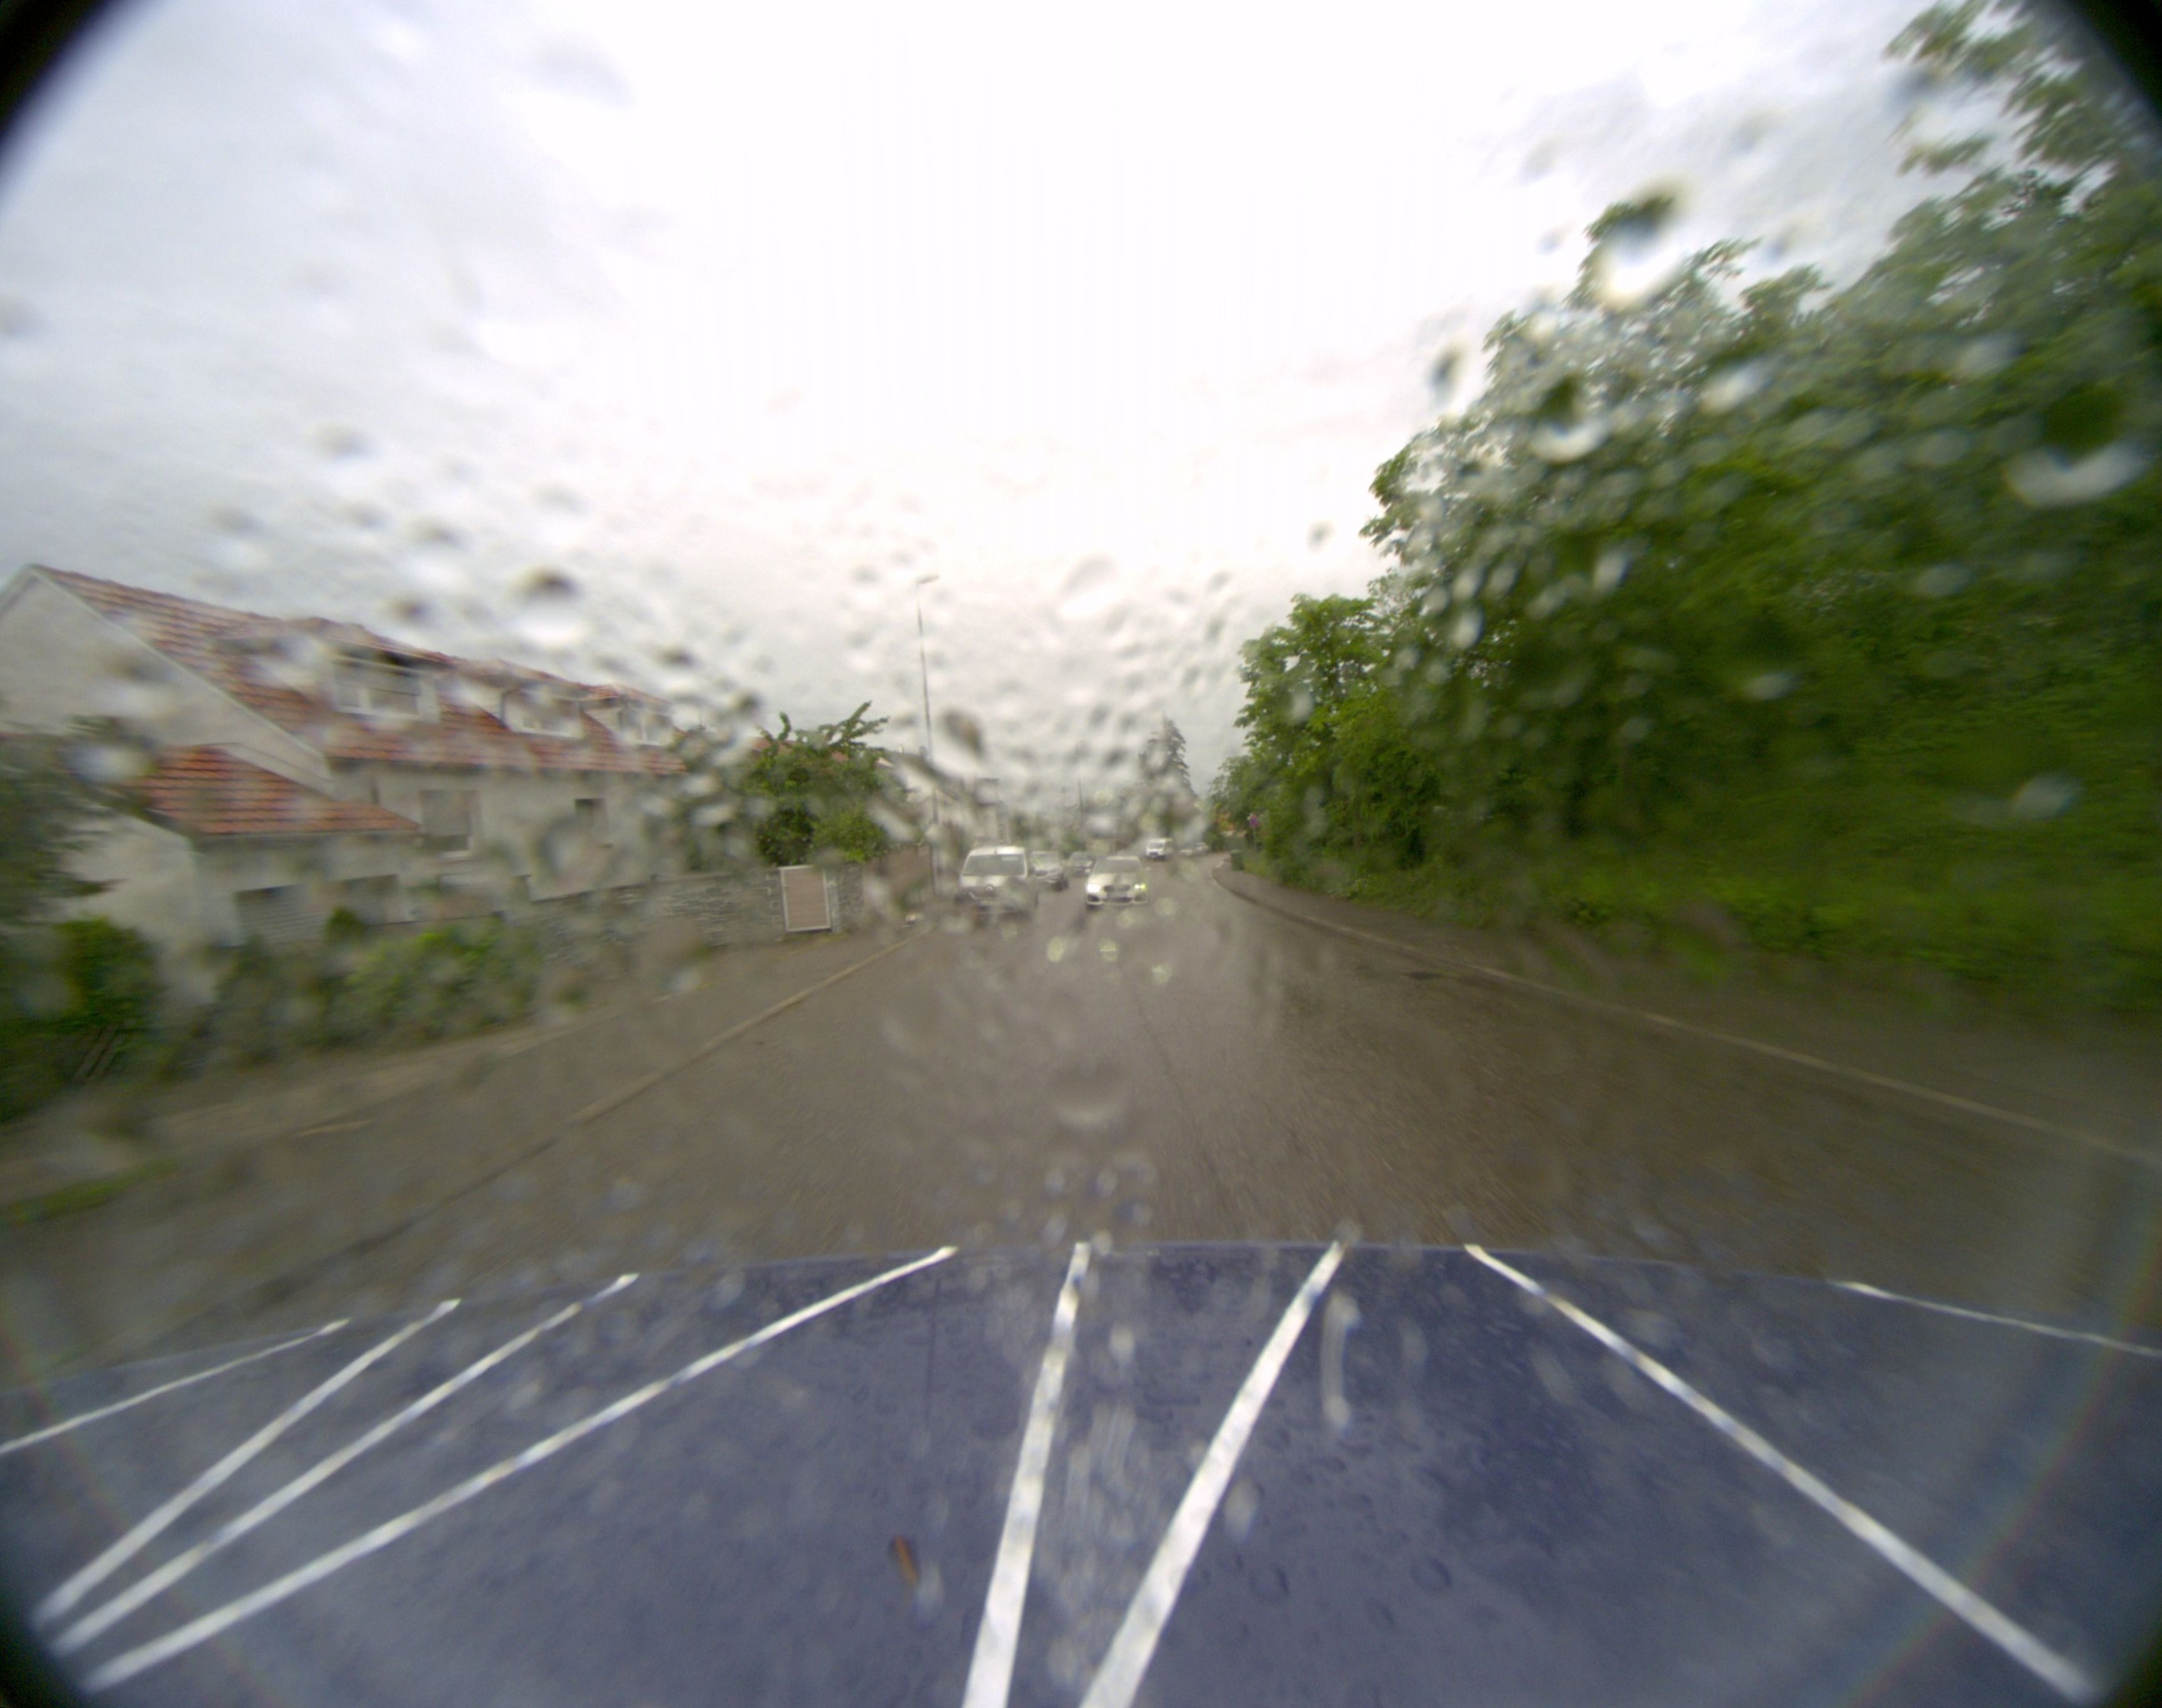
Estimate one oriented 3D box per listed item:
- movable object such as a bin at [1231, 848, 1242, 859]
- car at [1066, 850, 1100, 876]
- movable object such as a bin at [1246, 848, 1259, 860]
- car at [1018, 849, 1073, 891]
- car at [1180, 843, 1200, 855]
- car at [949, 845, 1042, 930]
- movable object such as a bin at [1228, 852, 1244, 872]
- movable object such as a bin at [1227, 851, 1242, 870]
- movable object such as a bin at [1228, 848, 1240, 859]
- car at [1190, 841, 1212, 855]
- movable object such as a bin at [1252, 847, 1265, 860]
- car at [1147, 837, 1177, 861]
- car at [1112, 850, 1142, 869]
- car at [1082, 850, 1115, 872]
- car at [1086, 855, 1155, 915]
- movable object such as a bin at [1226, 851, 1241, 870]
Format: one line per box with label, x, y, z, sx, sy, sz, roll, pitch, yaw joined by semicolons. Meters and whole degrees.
movable object such as a bin;14.295;-0.048;69.827;0.780;1.022;0.719;-5;2;-11
car;0.168;0.528;47.238;1.662;1.459;3.765;0;1;7
movable object such as a bin;15.347;-0.005;67.908;0.781;1.022;0.718;-6;2;-34
car;-1.448;0.637;32.512;1.808;1.617;4.288;0;1;5
car;14.485;-0.646;100.827;1.751;1.415;4.005;-1;1;21
car;-2.004;0.726;19.167;1.783;1.793;4.706;-2;1;0
movable object such as a bin;8.716;0.441;42.655;0.770;1.062;0.691;-2;1;4
movable object such as a bin;8.911;0.371;44.100;0.770;1.090;0.738;-2;1;4
movable object such as a bin;14.200;-0.061;70.563;0.780;1.022;0.719;-5;2;-11
car;16.842;-0.828;106.225;1.866;1.808;4.868;-1;1;23
movable object such as a bin;15.751;-0.036;67.296;0.781;1.022;0.718;-6;2;-34
car;9.155;-0.603;85.480;2.075;2.535;6.188;-1;1;17
car;4.140;0.463;67.663;1.860;1.518;5.067;0;1;12
car;1.270;0.455;52.779;1.772;1.459;4.237;0;1;9
car;1.125;0.833;22.056;1.798;1.455;4.000;-2;1;2
movable object such as a bin;8.997;0.381;44.853;0.770;1.090;0.738;-2;1;4
